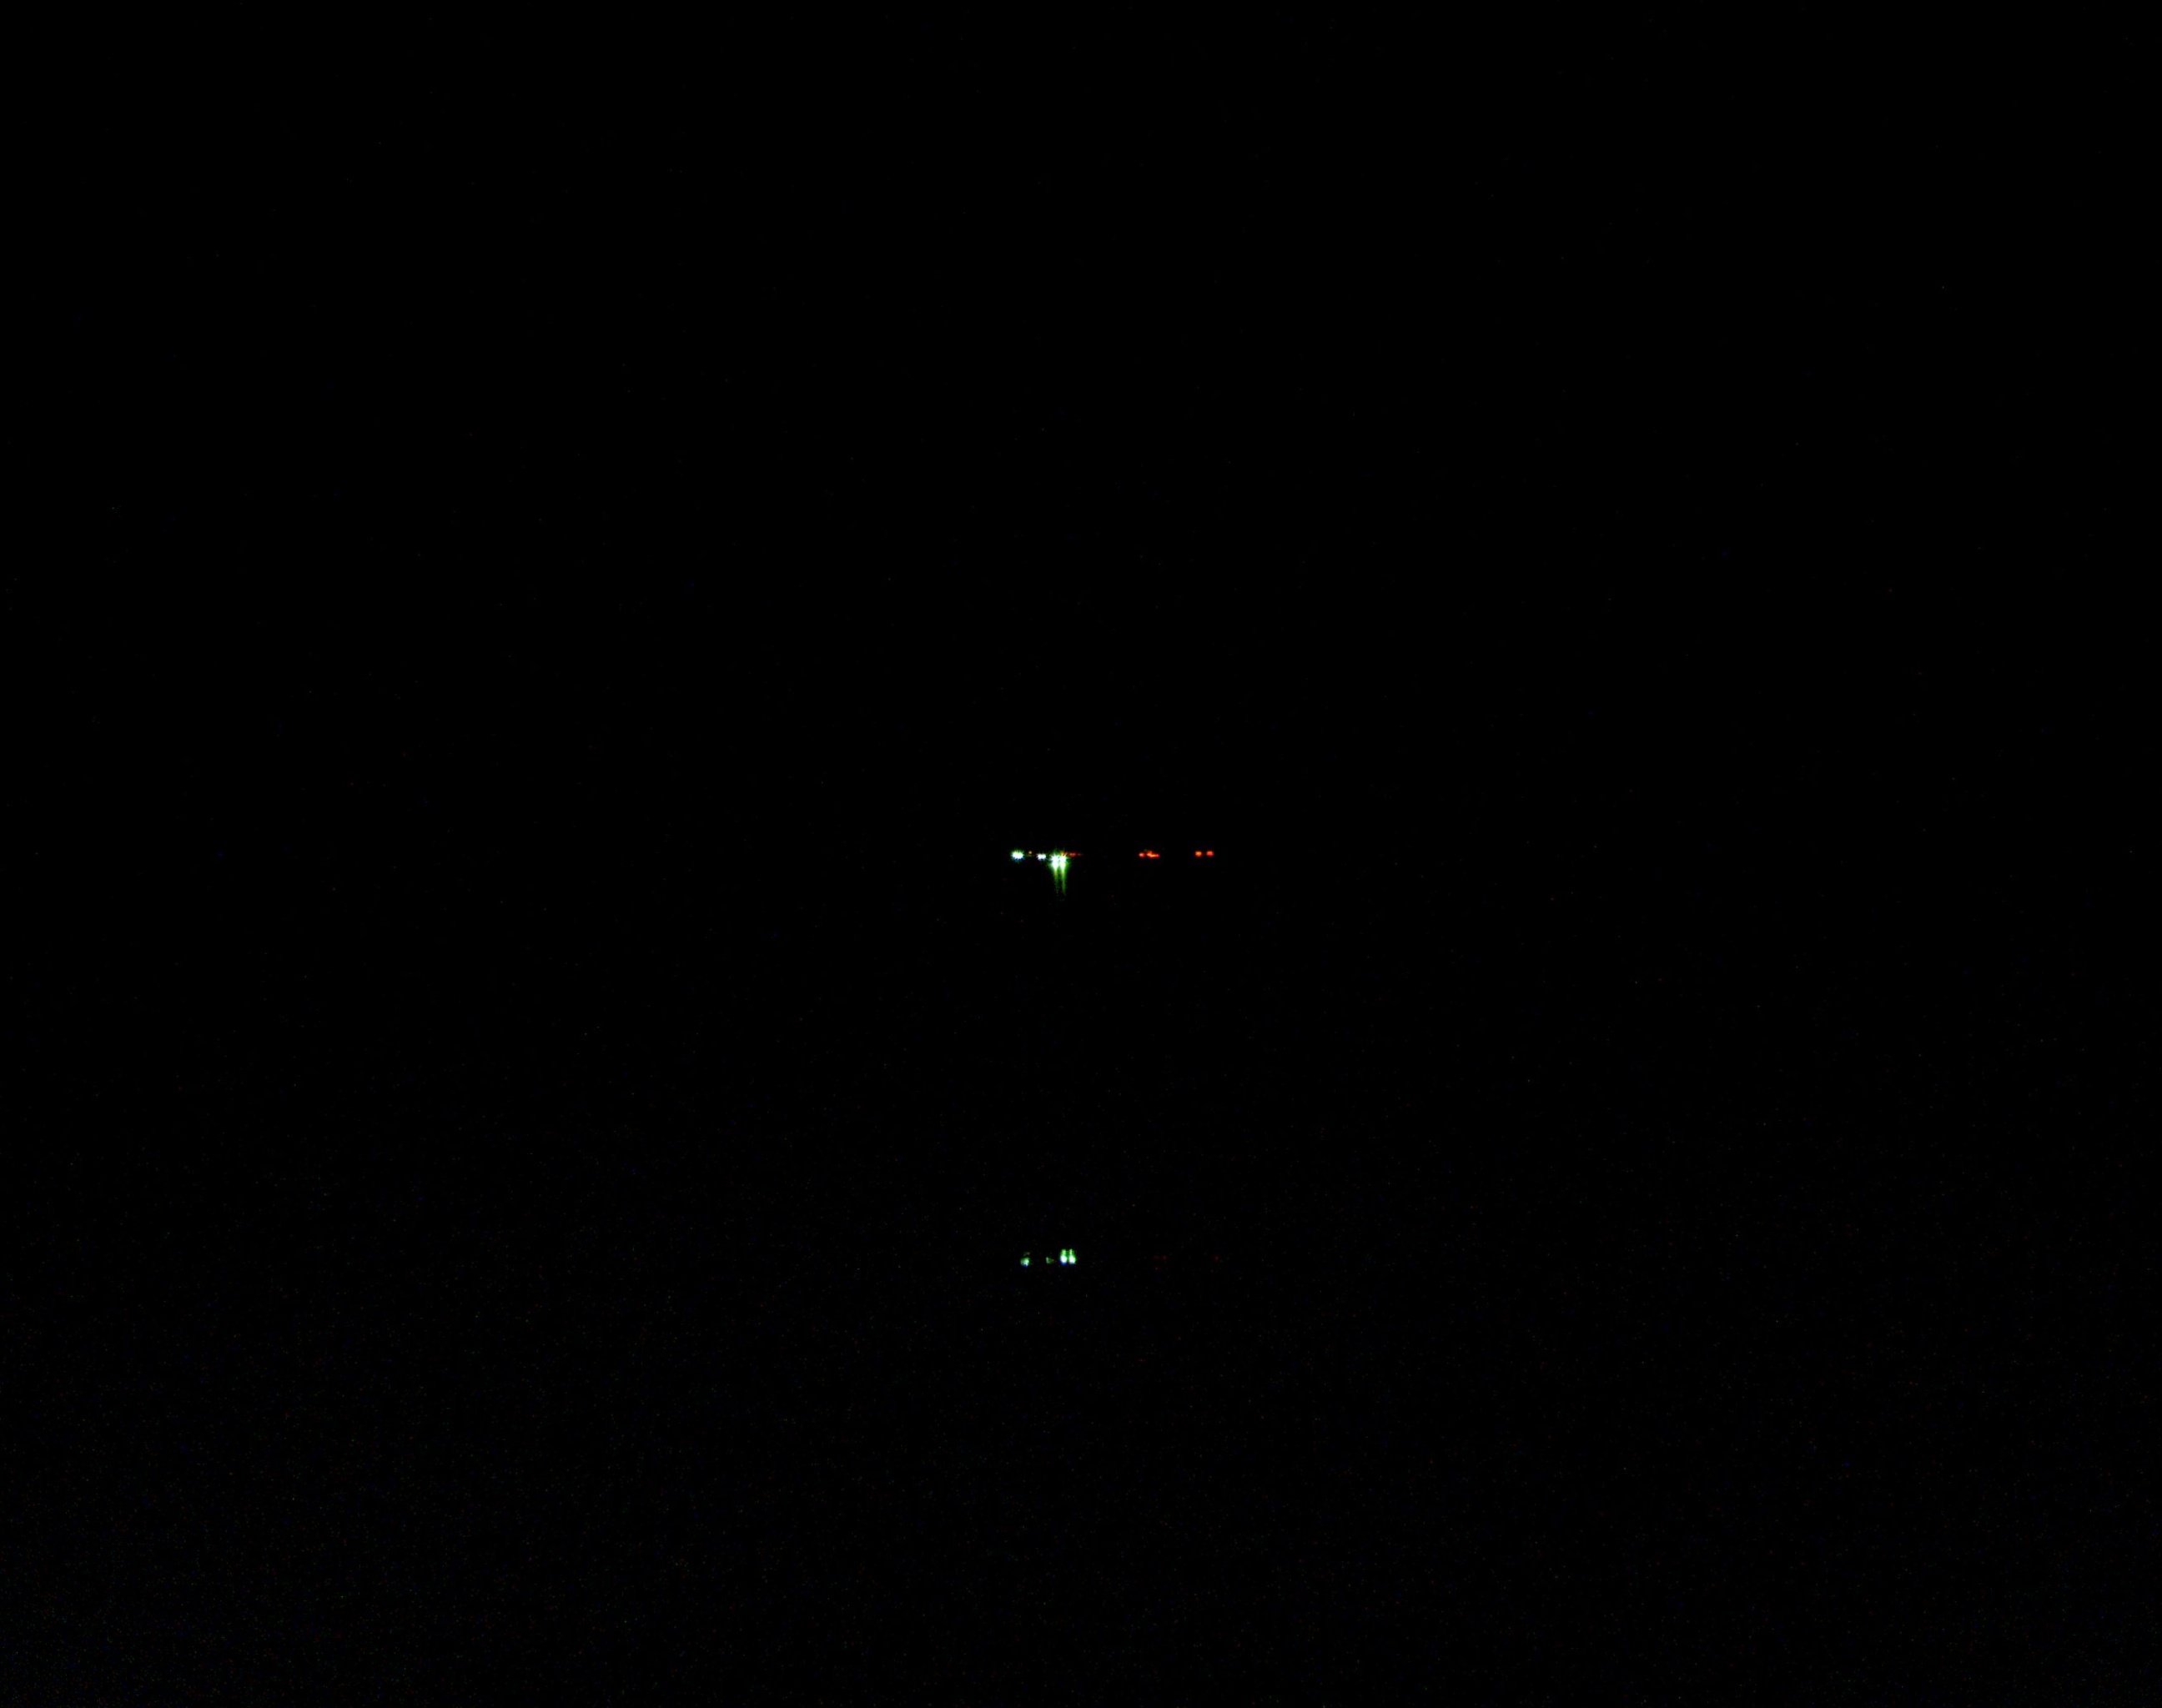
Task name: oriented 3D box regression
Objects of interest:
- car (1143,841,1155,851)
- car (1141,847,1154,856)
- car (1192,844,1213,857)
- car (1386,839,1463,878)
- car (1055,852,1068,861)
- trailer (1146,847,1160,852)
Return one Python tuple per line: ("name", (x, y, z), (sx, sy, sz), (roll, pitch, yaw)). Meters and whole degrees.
("car", (17.115, -1.933, 191.123), (2.087, 2.473, 6.240), (-2, 1, -2))
("car", (12.250, -0.461, 139.925), (1.908, 1.496, 4.272), (-2, 1, -2))
("car", (17.206, -0.527, 108.117), (1.999, 1.811, 5.686), (-2, 1, -1))
("car", (15.507, 0.164, 34.551), (1.750, 1.636, 3.741), (-2, 1, -1))
("car", (-3.634, 0.434, 141.225), (2.155, 1.558, 4.579), (-2, 1, -3))
("trailer", (17.412, -1.162, 183.936), (2.421, 1.098, 8.074), (-2, 1, -2))
